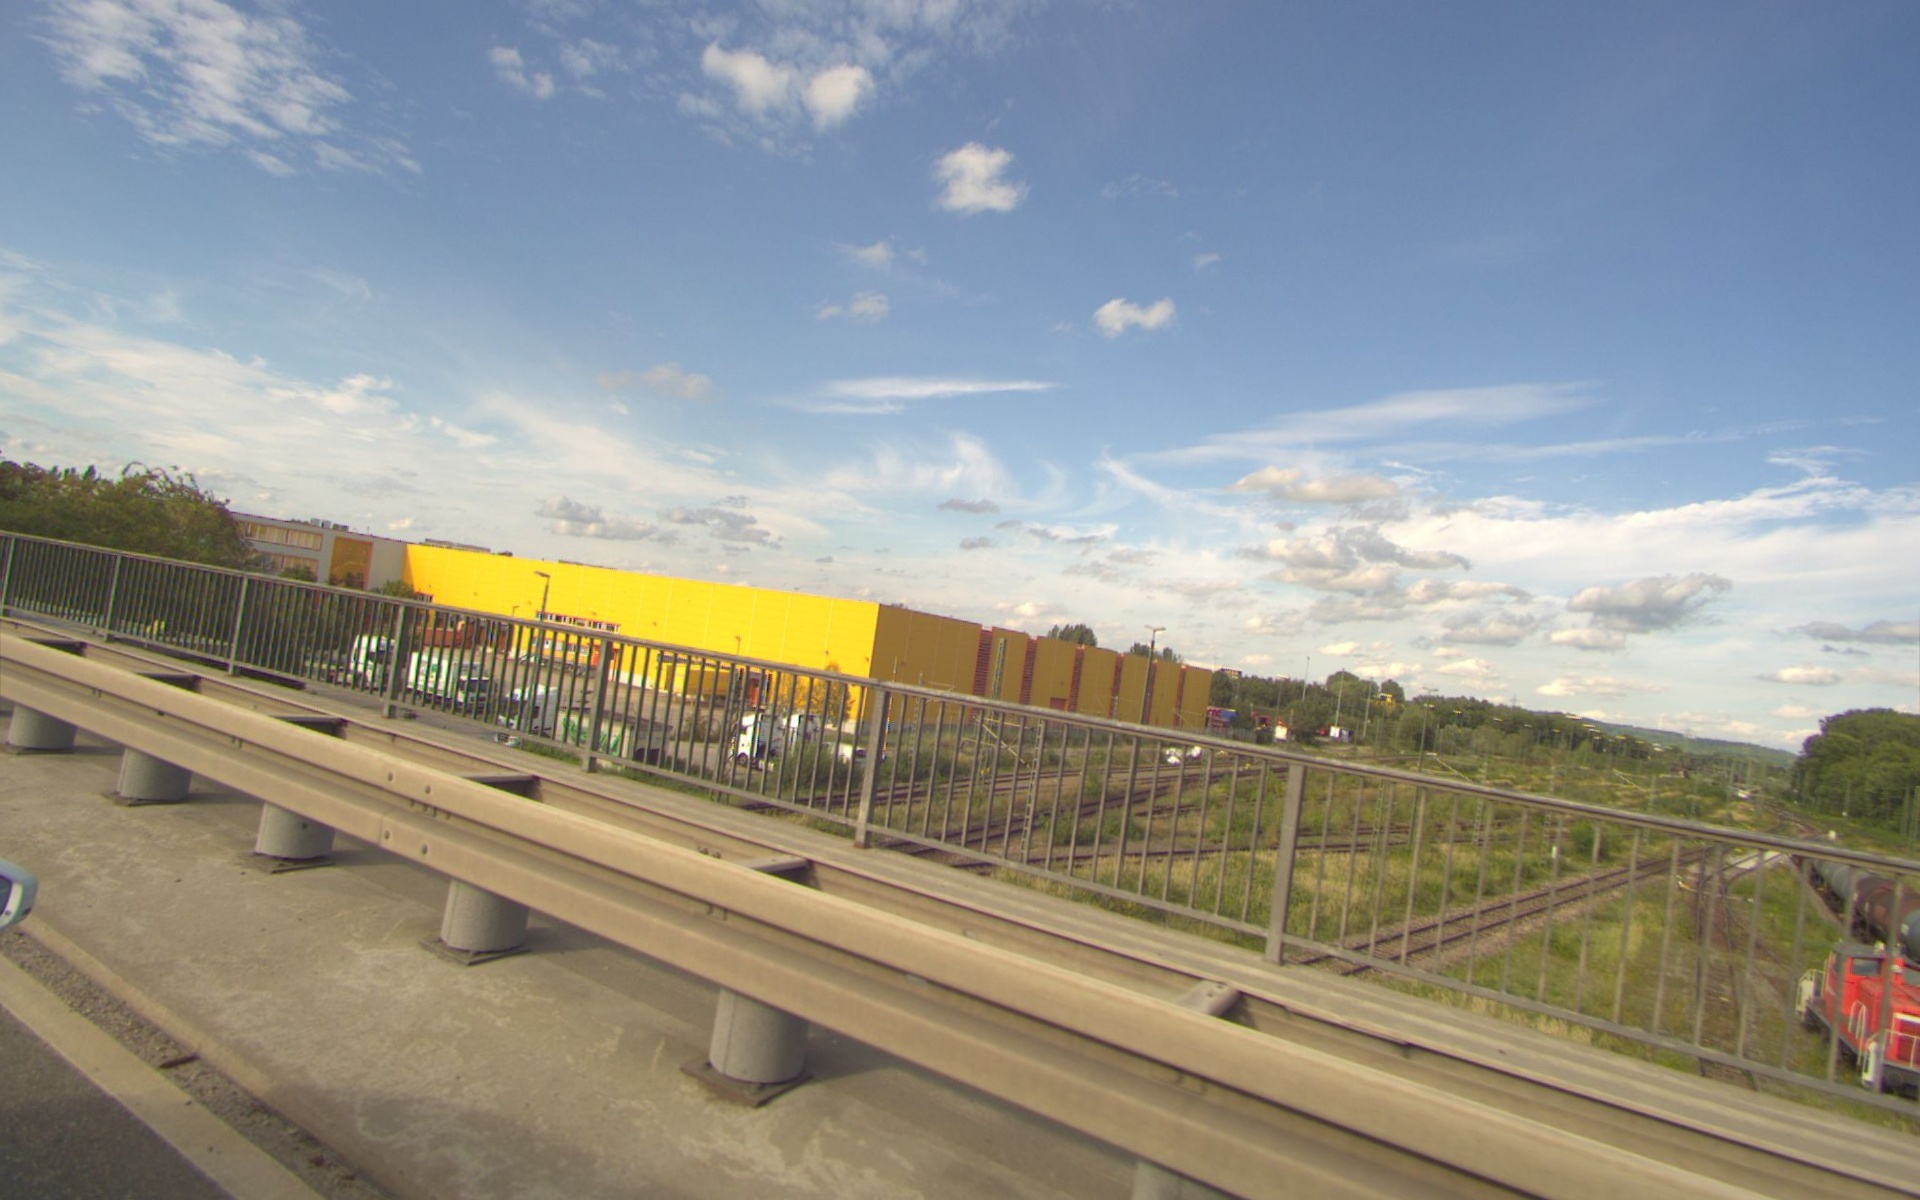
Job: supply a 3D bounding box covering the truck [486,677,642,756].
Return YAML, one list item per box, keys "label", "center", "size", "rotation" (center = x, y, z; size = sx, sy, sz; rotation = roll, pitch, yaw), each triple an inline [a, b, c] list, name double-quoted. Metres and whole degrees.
- label: "truck"
  center: [-24.261, 7.117, 62.154]
  size: [2.623, 4.141, 8.599]
  rotation: [9, 0, 34]

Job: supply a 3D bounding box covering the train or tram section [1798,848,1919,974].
- label: "train or tram section"
  center: [55.583, 18.769, 62.101]
  size: [3.046, 4.764, 16.735]
  rotation: [6, -3, 32]

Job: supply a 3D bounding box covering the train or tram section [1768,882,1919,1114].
- label: "train or tram section"
  center: [34.711, 14.678, 38.785]
  size: [3.046, 4.194, 17.269]
  rotation: [6, -1, 32]

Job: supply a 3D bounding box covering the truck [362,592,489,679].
- label: "truck"
  center: [-43.525, 2.843, 81.742]
  size: [11.093, 5.727, 3.633]
  rotation: [6, 0, 33]

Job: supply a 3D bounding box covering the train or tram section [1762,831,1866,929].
- label: "train or tram section"
  center: [64.244, 20.795, 76.187]
  size: [3.046, 4.764, 16.735]
  rotation: [6, -3, 32]

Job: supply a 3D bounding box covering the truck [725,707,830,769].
- label: "truck"
  center: [-12.773, 9.623, 71.043]
  size: [2.623, 3.662, 7.216]
  rotation: [9, 0, 34]

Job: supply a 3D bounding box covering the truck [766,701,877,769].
- label: "truck"
  center: [-10.474, 10.039, 75.526]
  size: [8.473, 3.421, 2.033]
  rotation: [8, 1, 31]

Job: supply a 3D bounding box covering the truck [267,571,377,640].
- label: "truck"
  center: [-57.437, 0.439, 90.435]
  size: [11.093, 4.914, 3.634]
  rotation: [6, 0, 33]

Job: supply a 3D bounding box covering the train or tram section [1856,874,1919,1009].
- label: "train or tram section"
  center: [46.942, 16.739, 47.880]
  size: [3.046, 4.764, 16.735]
  rotation: [6, -3, 32]
